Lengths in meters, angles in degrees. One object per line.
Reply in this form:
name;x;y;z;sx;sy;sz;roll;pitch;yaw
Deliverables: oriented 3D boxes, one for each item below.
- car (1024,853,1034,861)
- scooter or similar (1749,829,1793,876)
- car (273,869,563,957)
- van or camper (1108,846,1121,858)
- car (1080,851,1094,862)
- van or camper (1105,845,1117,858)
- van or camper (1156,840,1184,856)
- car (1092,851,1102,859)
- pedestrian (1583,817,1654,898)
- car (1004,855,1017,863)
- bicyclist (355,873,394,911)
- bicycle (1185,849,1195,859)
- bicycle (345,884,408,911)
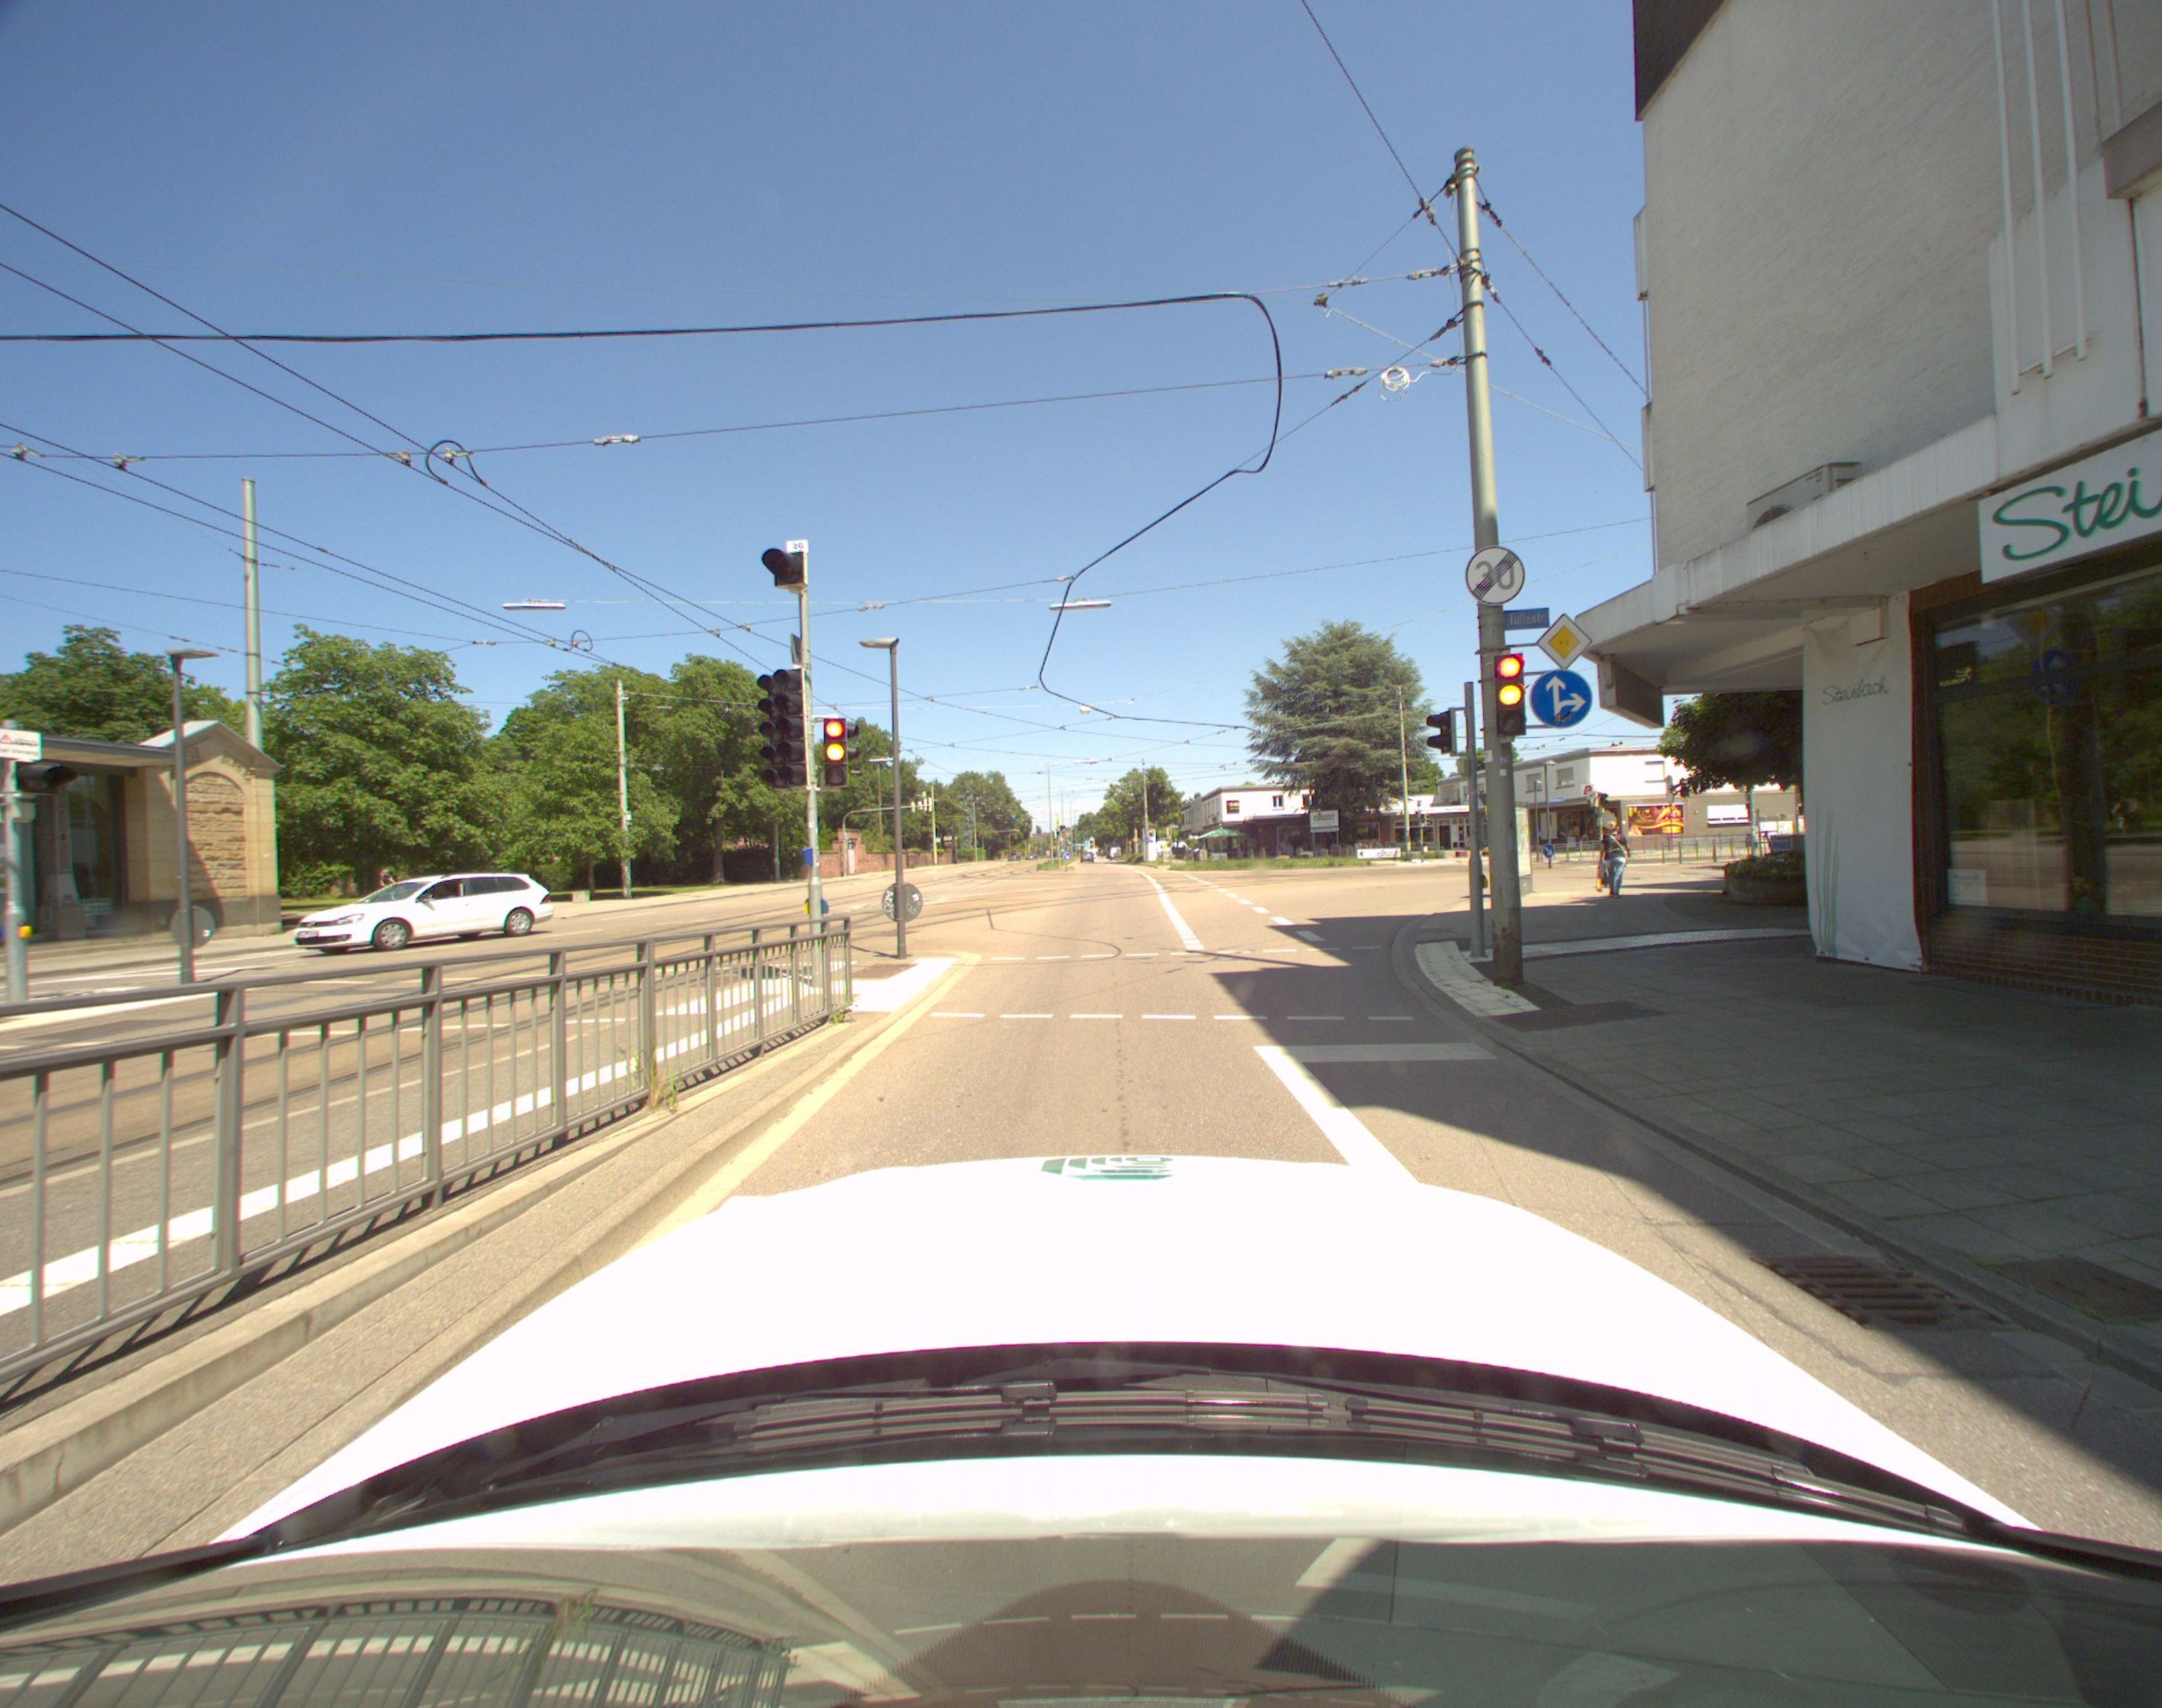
car;-10.730;0.591;168.274;1.634;1.421;4.171;-2;0;3
scooter or similar;18.726;-0.043;22.093;1.258;1.212;0.391;-2;0;-26
car;-13.840;1.158;17.411;1.803;1.489;4.520;-2;0;17
van or camper;5.365;-0.334;130.348;1.915;1.772;4.001;-2;0;2
car;0.811;0.373;108.148;1.632;1.351;3.839;-2;0;-2
van or camper;5.595;-0.479;152.956;1.988;2.464;3.998;-2;0;-2
van or camper;15.634;-1.037;143.268;4.742;2.671;2.135;-2;0;-1
car;3.007;0.109;152.985;1.663;1.435;3.478;-2;0;4
pedestrian;11.294;0.078;17.139;0.822;1.583;0.828;-6;-1;7
car;-13.583;0.963;157.384;1.813;1.603;4.522;-2;0;2
bicyclist;-30.138;1.612;34.763;0.839;1.530;0.854;-2;0;3
bicycle;11.309;0.008;84.417;1.028;1.014;2.643;-2;0;8
bicycle;-30.059;1.845;34.765;2.087;1.041;0.718;-2;0;3
